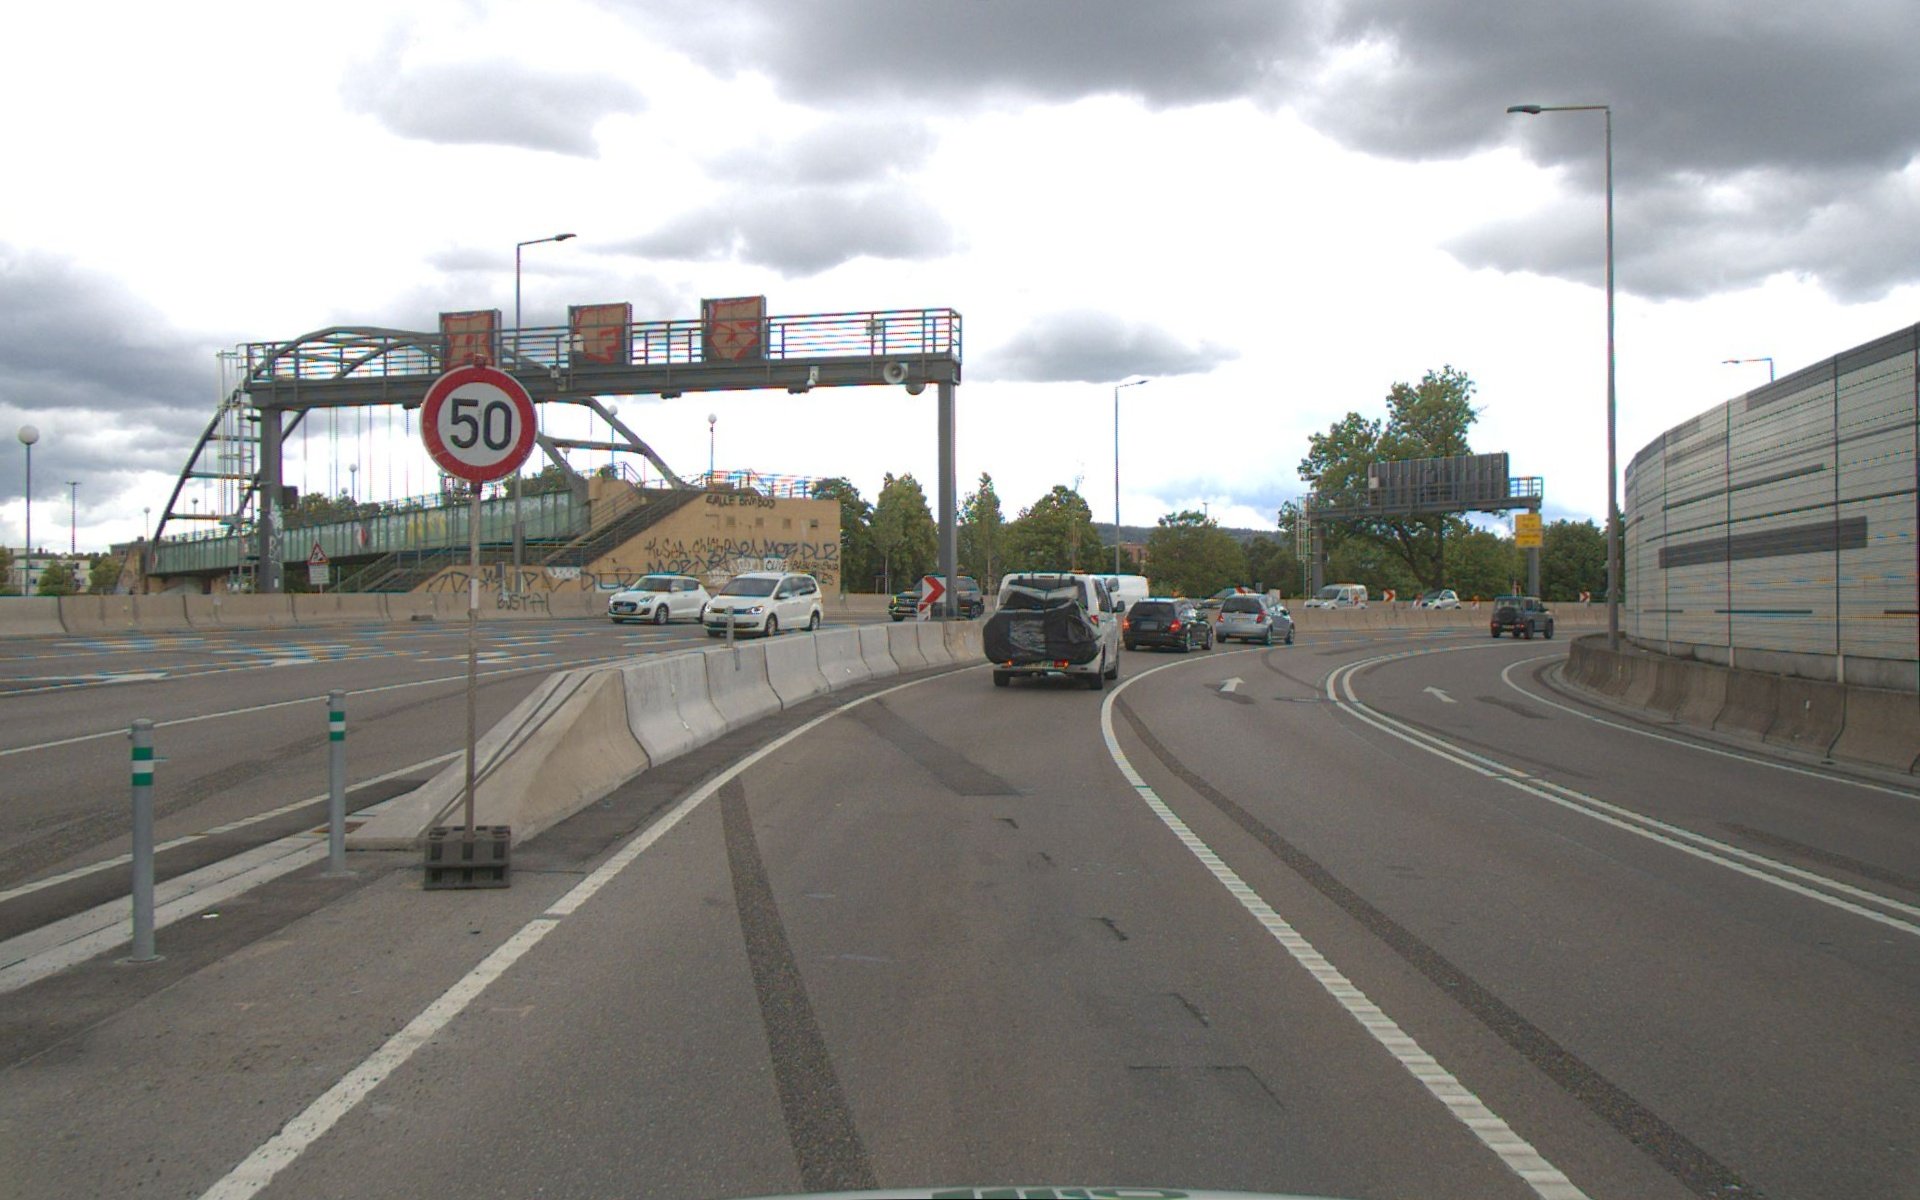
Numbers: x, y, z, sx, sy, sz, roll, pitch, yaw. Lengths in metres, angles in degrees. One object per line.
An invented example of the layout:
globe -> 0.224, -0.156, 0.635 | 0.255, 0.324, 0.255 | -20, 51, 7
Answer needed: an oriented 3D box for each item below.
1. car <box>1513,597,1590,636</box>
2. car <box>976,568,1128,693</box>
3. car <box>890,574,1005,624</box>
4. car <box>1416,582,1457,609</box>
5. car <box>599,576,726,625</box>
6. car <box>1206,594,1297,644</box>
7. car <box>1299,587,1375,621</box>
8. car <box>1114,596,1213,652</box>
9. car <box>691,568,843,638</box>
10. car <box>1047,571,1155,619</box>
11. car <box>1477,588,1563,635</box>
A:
car -> 27.521, 0.773, 76.944 | 1.965, 1.702, 3.975 | 3, 2, 42
car -> 1.699, 0.466, 28.456 | 1.950, 1.891, 5.646 | 1, 0, 10
car -> -0.389, -0.042, 60.466 | 1.957, 1.725, 4.917 | 2, 1, 30
car -> 27.823, -0.251, 96.458 | 1.596, 1.501, 2.934 | 1, 0, 31
car -> -9.062, 0.016, 50.708 | 1.725, 1.459, 4.141 | 0, 0, 26
car -> 9.504, 0.591, 53.670 | 1.883, 1.515, 4.062 | 1, 1, 26
car -> 19.397, 0.213, 85.032 | 1.966, 1.715, 4.231 | 1, 0, 43
car -> 5.595, 0.628, 45.136 | 1.777, 1.459, 4.066 | -1, 0, 20
car -> -5.101, 0.072, 44.619 | 1.909, 1.780, 5.275 | 0, 0, 20
car -> 6.092, -0.205, 70.806 | 2.201, 1.986, 5.082 | 1, 0, 38
car -> 23.399, 0.491, 69.030 | 1.965, 1.892, 3.974 | 0, 0, 43
